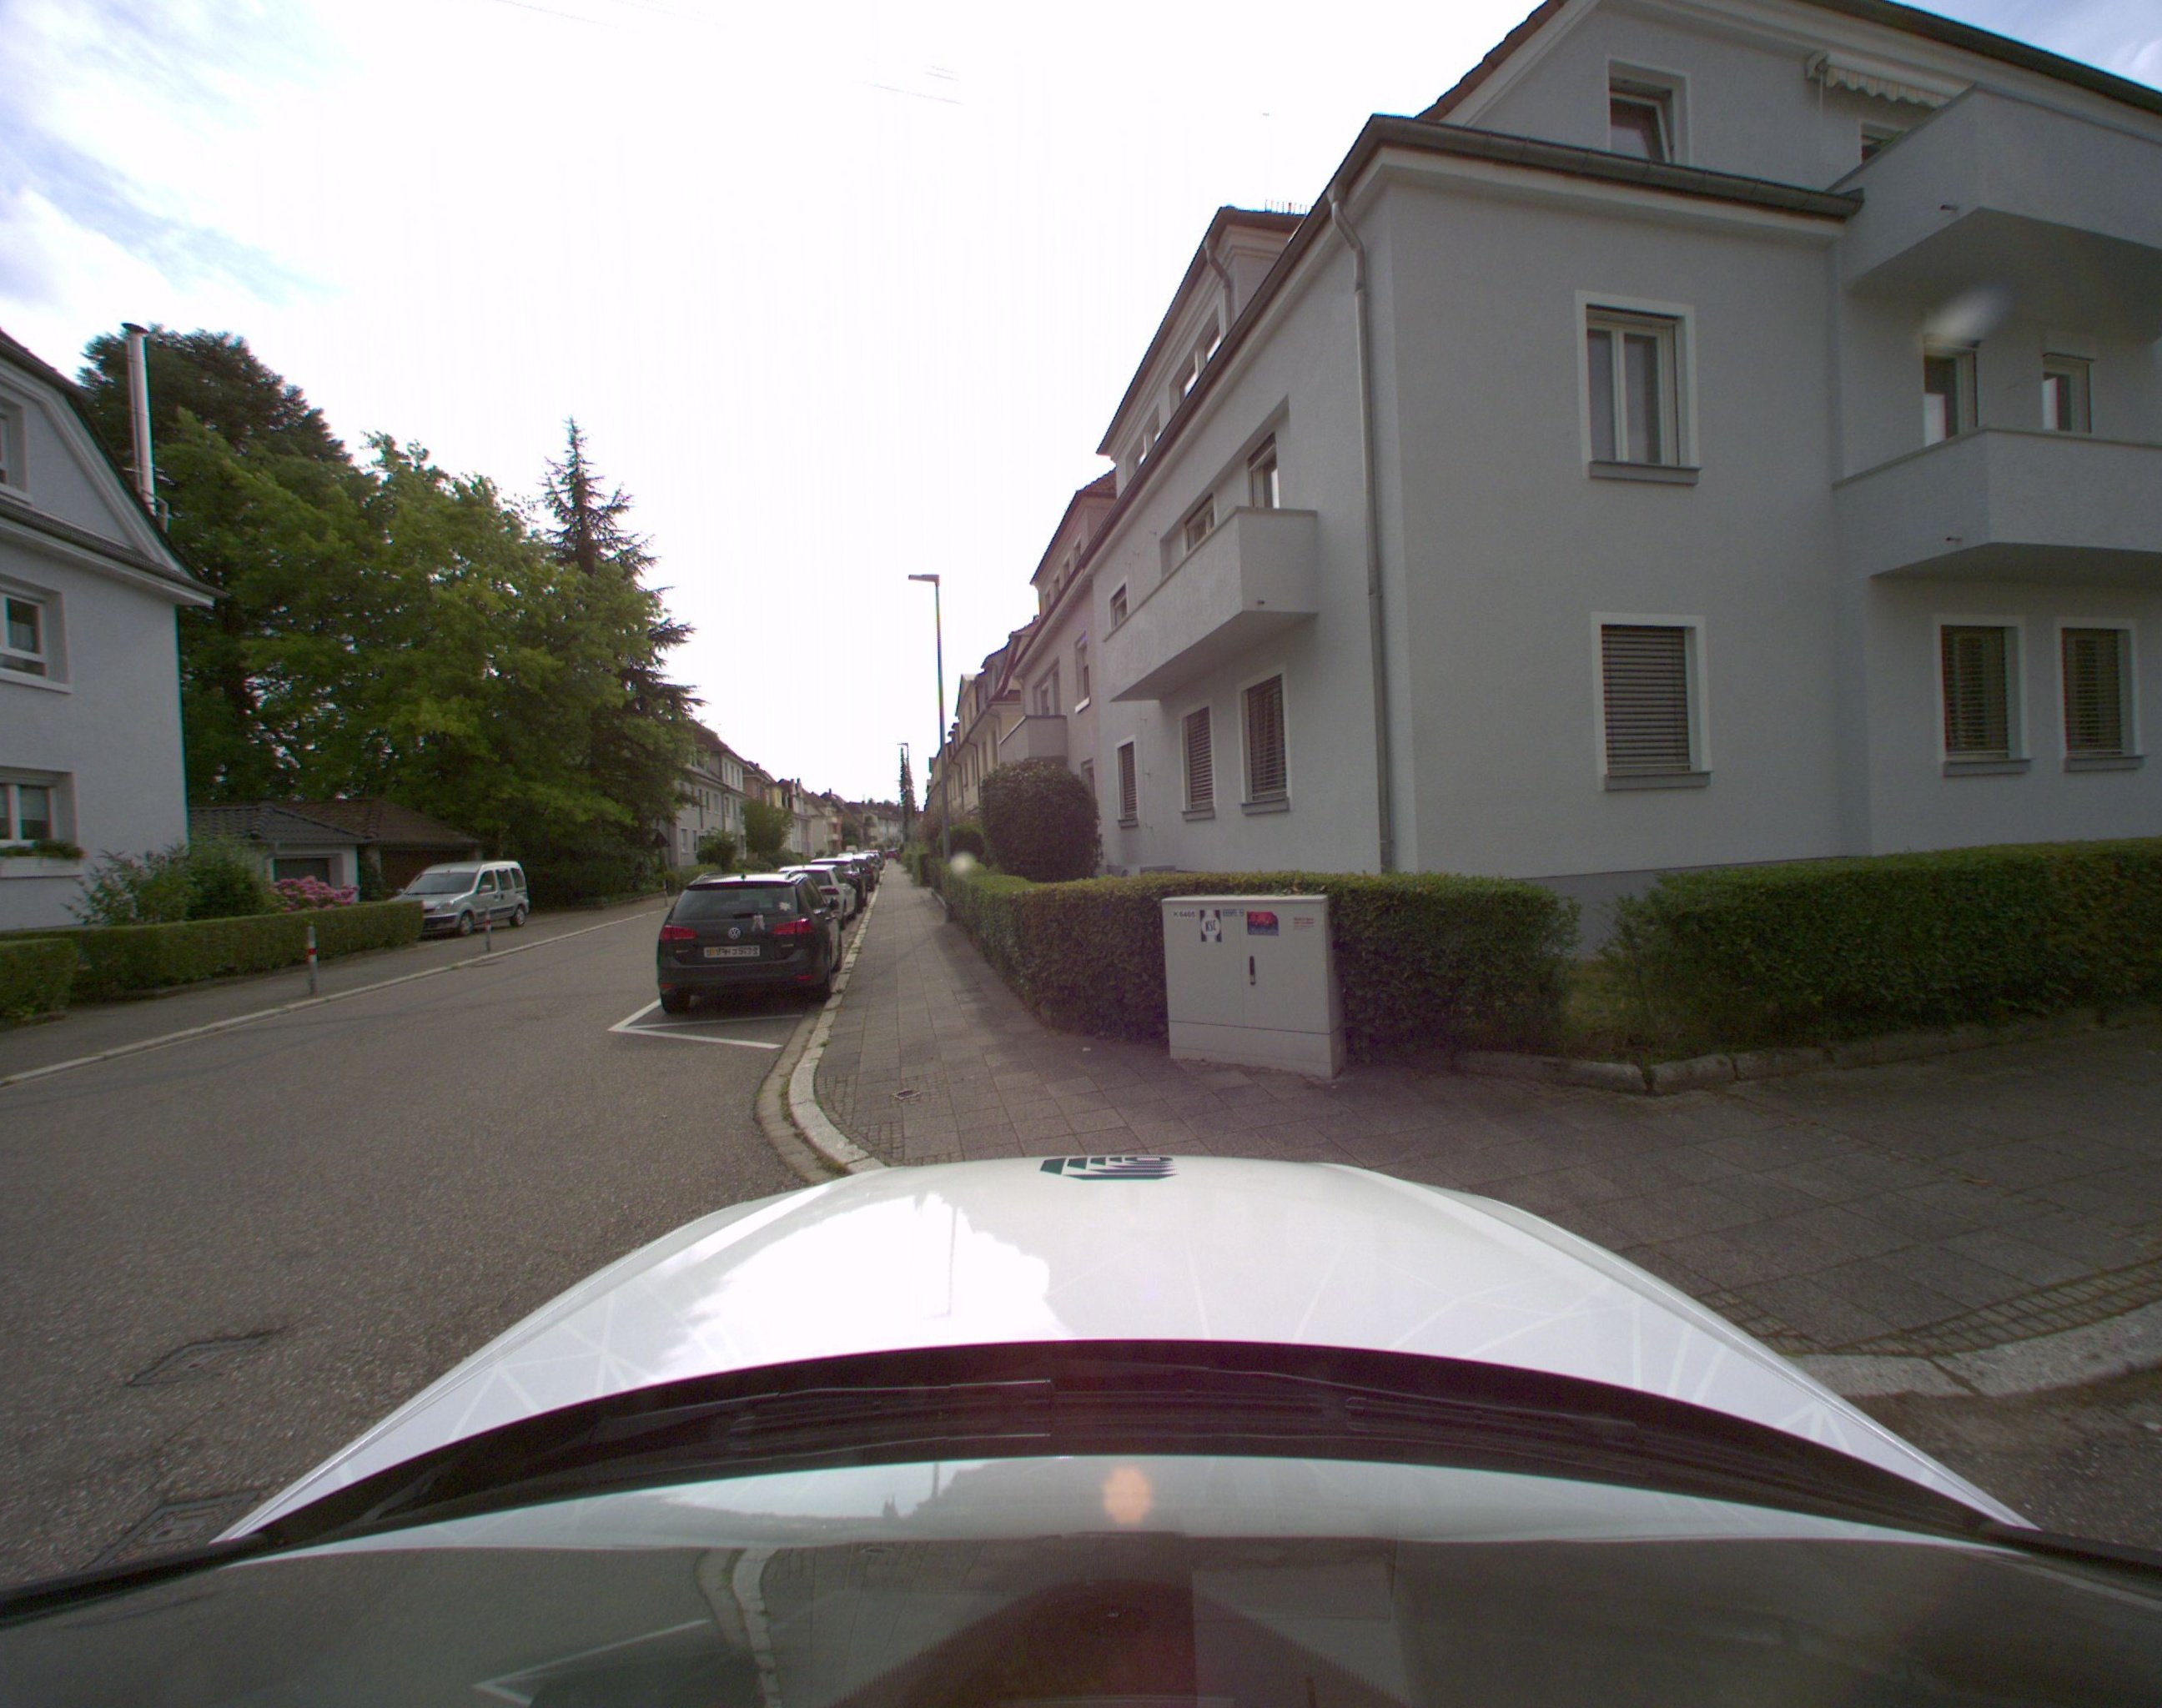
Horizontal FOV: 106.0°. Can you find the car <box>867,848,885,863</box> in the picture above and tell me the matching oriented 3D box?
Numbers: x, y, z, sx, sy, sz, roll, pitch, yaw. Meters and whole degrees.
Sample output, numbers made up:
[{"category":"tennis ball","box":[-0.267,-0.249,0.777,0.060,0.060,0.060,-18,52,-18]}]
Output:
[{"category":"car","box":[-23.305,0.171,92.829,1.856,1.577,4.157,-3,1,-13]}]

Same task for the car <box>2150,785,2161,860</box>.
[{"category":"car","box":[22.419,-0.644,14.288,1.995,1.464,3.983,-3,1,-12]}]

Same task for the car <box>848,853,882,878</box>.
[{"category":"car","box":[-13.921,0.711,52.703,1.855,1.471,4.158,-3,1,-12]}]

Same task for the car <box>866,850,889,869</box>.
[{"category":"car","box":[-18.625,0.476,74.625,1.855,1.577,4.158,-3,1,-12]}]

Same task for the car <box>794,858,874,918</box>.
[{"category":"car","box":[-7.275,0.931,24.378,1.855,1.471,4.158,-3,1,-12]}]

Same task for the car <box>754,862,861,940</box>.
[{"category":"car","box":[-6.373,1.018,19.430,1.855,1.471,4.158,-3,1,-12]}]

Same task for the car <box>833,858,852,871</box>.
[{"category":"car","box":[-32.658,1.384,111.562,1.993,1.640,3.987,-3,1,-10]}]

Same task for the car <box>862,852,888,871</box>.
[{"category":"car","box":[-17.432,0.637,69.134,1.855,1.471,4.158,-3,1,-12]}]

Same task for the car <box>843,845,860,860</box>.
[{"category":"car","box":[-34.717,-0.223,123.331,1.994,2.013,3.985,-3,1,-11]}]

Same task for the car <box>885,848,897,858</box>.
[{"category":"car","box":[-31.917,-0.208,136.898,1.855,1.577,4.158,-3,1,-12]}]

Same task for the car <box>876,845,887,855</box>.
[{"category":"car","box":[-44.851,-0.958,182.929,1.993,2.123,3.987,-3,1,-10]}]

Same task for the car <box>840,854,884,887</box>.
[{"category":"car","box":[-10.984,0.785,41.099,1.855,1.471,4.158,-3,1,-12]}]

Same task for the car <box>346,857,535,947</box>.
[{"category":"car","box":[-15.642,1.075,20.204,1.995,1.837,3.984,-3,1,-11]}]

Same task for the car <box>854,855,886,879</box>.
[{"category":"car","box":[-14.744,0.892,57.107,1.855,1.471,4.158,-3,1,-12]}]

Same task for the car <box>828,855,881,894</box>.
[{"category":"car","box":[-9.846,0.865,35.644,1.855,1.471,4.158,-3,1,-12]}]

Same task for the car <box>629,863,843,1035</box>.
[{"category":"car","box":[-3.925,0.925,9.961,1.858,1.471,4.152,-3,1,-16]}]
